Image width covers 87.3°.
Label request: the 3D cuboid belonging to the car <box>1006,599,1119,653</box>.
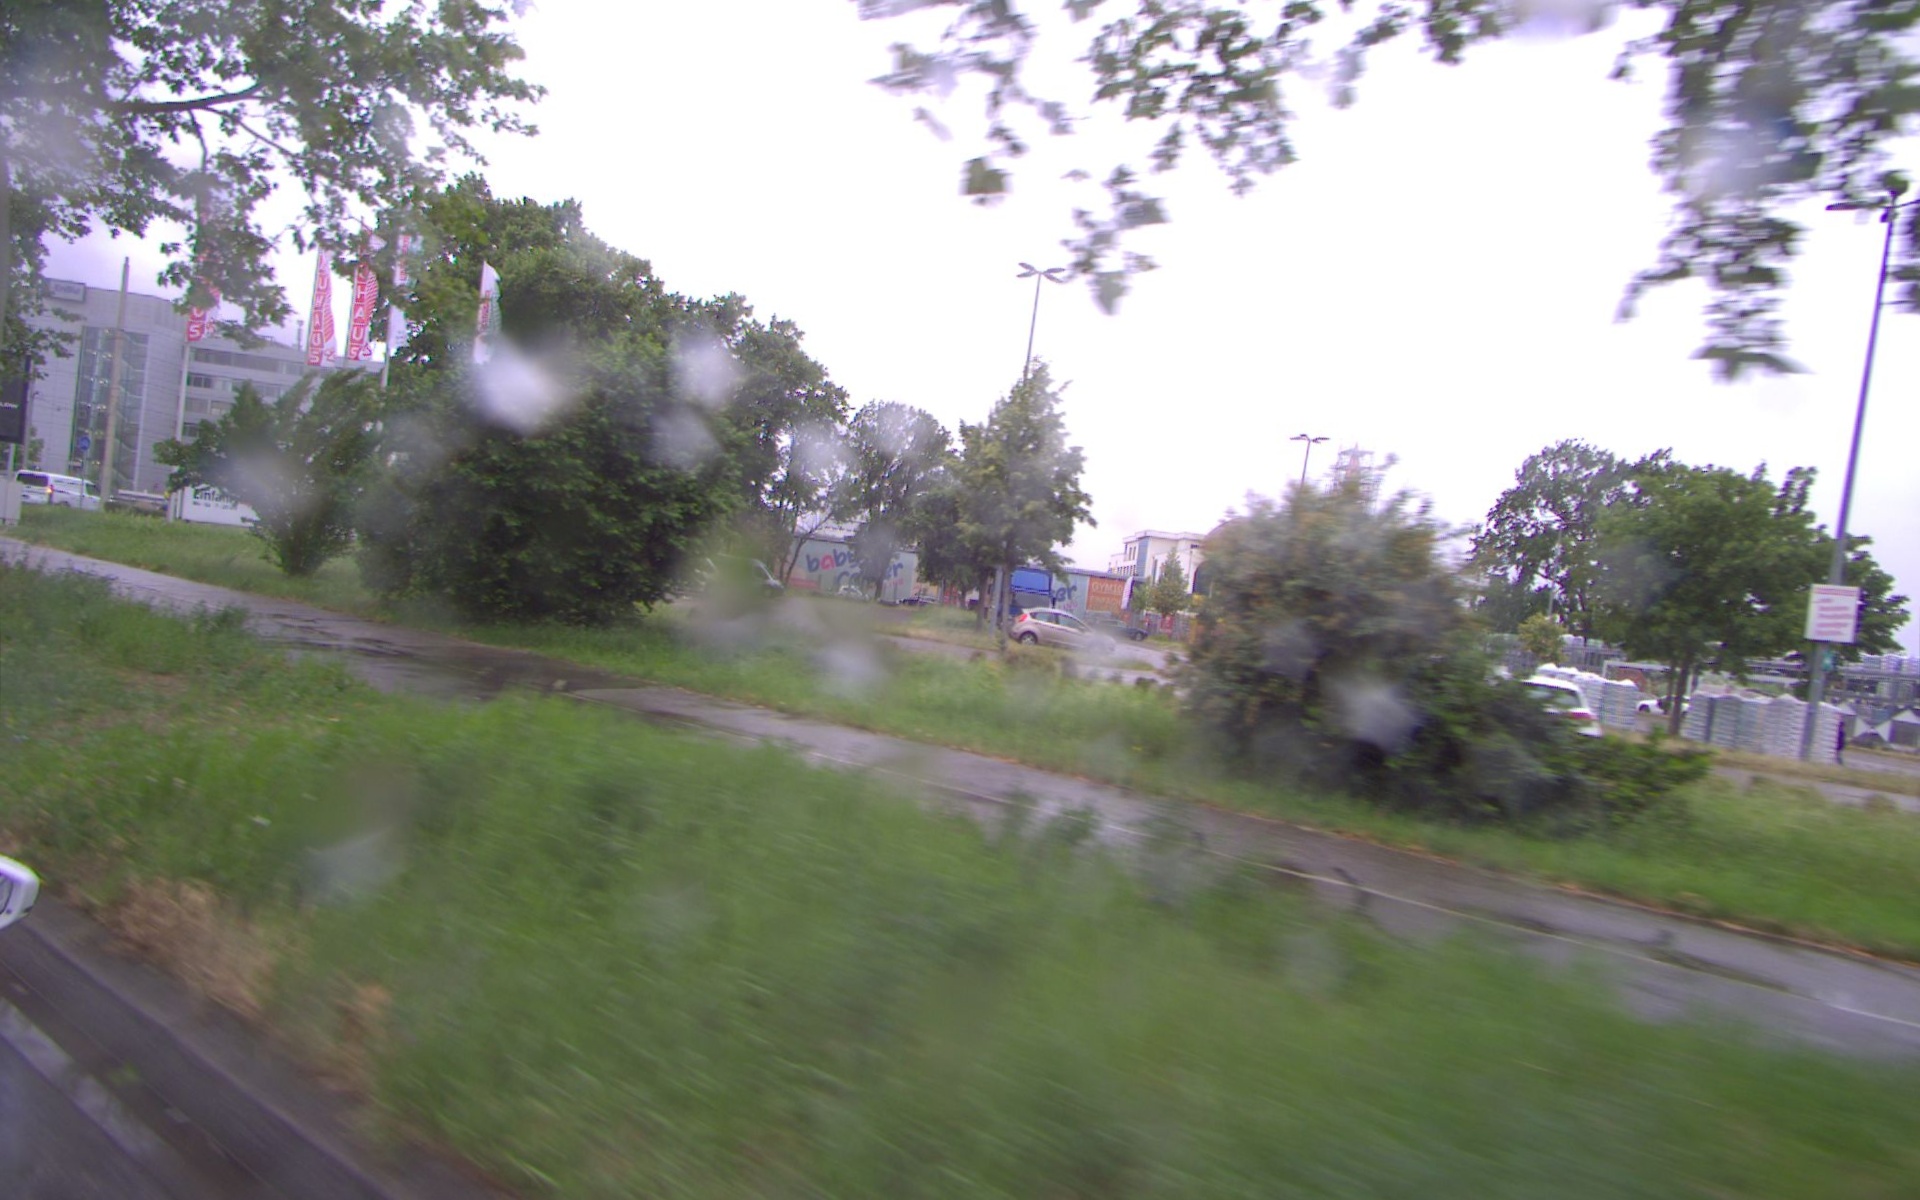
[{"bbox_3d":[3.902,1.012,38.833,3.928,1.514,2.000,7,-2,-3],"label":"car"}]

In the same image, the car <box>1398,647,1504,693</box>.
[{"bbox_3d":[31.204,4.412,64.053,5.563,2.168,2.002,7,-1,5],"label":"car"}]

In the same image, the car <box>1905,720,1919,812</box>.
[{"bbox_3d":[14.814,2.478,13.496,1.965,1.380,3.998,6,-2,27],"label":"car"}]

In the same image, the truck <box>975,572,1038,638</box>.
[{"bbox_3d":[3.040,0.351,68.794,2.950,3.856,8.952,7,-1,-4],"label":"truck"}]

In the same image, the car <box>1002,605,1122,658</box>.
[{"bbox_3d":[3.624,1.127,36.311,3.928,1.380,2.000,7,-2,-3],"label":"car"}]

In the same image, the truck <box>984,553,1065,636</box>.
[{"bbox_3d":[3.365,-0.247,55.025,2.950,3.856,8.284,7,-1,-4],"label":"truck"}]

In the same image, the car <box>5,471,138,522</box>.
[{"bbox_3d":[-39.259,-4.557,44.622,1.768,1.556,4.388,7,0,3],"label":"car"}]

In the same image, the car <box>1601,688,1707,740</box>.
[{"bbox_3d":[38.489,6.279,55.976,2.044,2.229,5.156,5,-1,-1],"label":"car"}]

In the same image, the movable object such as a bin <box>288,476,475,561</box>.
[{"bbox_3d":[-61.823,-8.629,108.285,14.695,6.356,8.271,7,-2,-2],"label":"movable object such as a bin"}]

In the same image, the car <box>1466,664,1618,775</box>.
[{"bbox_3d":[9.512,1.929,16.714,1.836,1.380,3.998,6,-2,27],"label":"car"}]

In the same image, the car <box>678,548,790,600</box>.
[{"bbox_3d":[-14.810,-1.687,66.325,6.702,2.464,2.327,7,0,-4],"label":"car"}]

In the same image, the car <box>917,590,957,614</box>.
[{"bbox_3d":[-2.504,0.230,109.892,4.085,2.037,2.001,7,-1,1],"label":"car"}]
